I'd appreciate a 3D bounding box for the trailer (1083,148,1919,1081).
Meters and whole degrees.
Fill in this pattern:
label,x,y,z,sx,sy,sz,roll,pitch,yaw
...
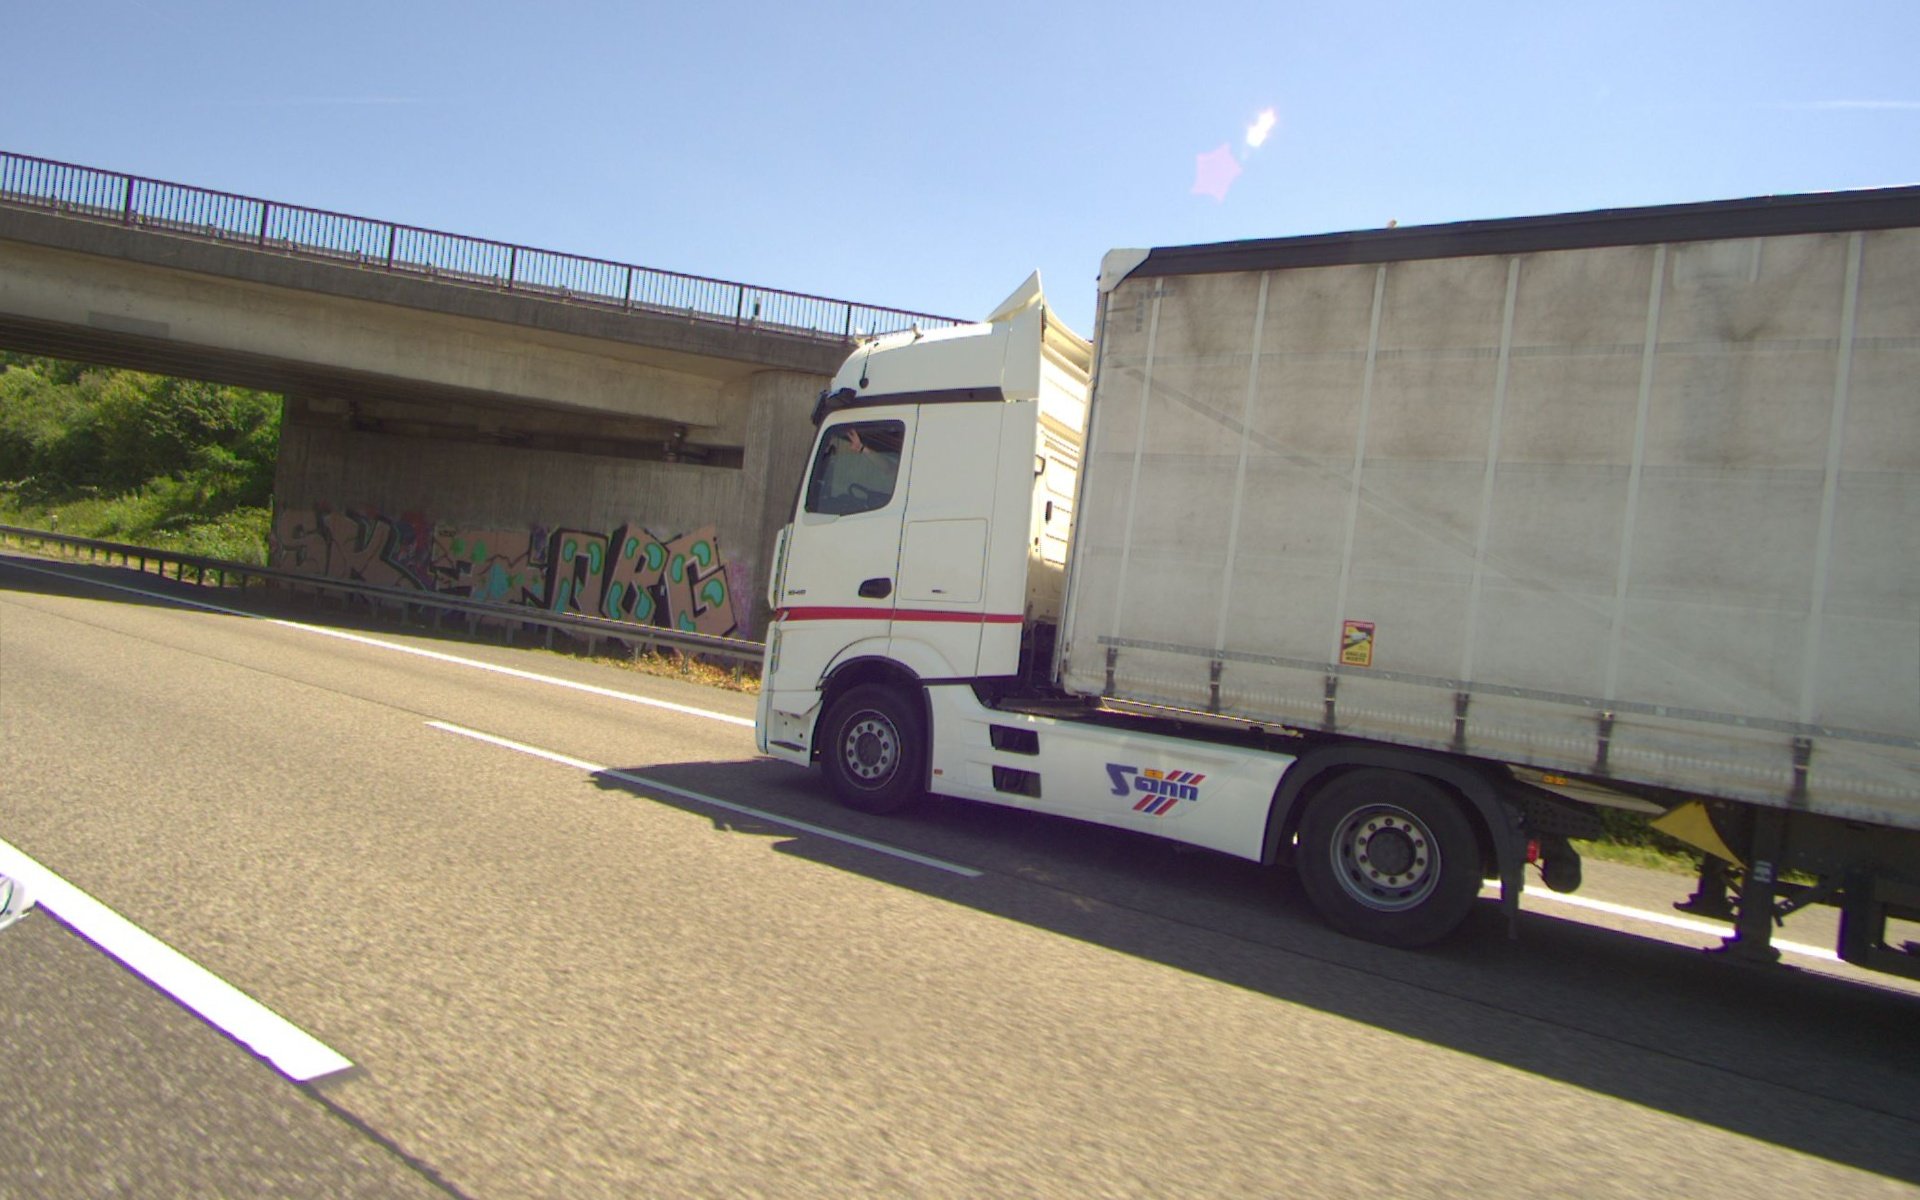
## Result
label,x,y,z,sx,sy,sz,roll,pitch,yaw
trailer,7.219,0.377,4.298,12.969,4.153,2.732,6,0,31

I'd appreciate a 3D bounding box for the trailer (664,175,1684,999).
label,x,y,z,sx,sy,sz,roll,pitch,yaw
trailer,1.239,-0.263,7.945,6.676,4.153,2.717,6,0,31
